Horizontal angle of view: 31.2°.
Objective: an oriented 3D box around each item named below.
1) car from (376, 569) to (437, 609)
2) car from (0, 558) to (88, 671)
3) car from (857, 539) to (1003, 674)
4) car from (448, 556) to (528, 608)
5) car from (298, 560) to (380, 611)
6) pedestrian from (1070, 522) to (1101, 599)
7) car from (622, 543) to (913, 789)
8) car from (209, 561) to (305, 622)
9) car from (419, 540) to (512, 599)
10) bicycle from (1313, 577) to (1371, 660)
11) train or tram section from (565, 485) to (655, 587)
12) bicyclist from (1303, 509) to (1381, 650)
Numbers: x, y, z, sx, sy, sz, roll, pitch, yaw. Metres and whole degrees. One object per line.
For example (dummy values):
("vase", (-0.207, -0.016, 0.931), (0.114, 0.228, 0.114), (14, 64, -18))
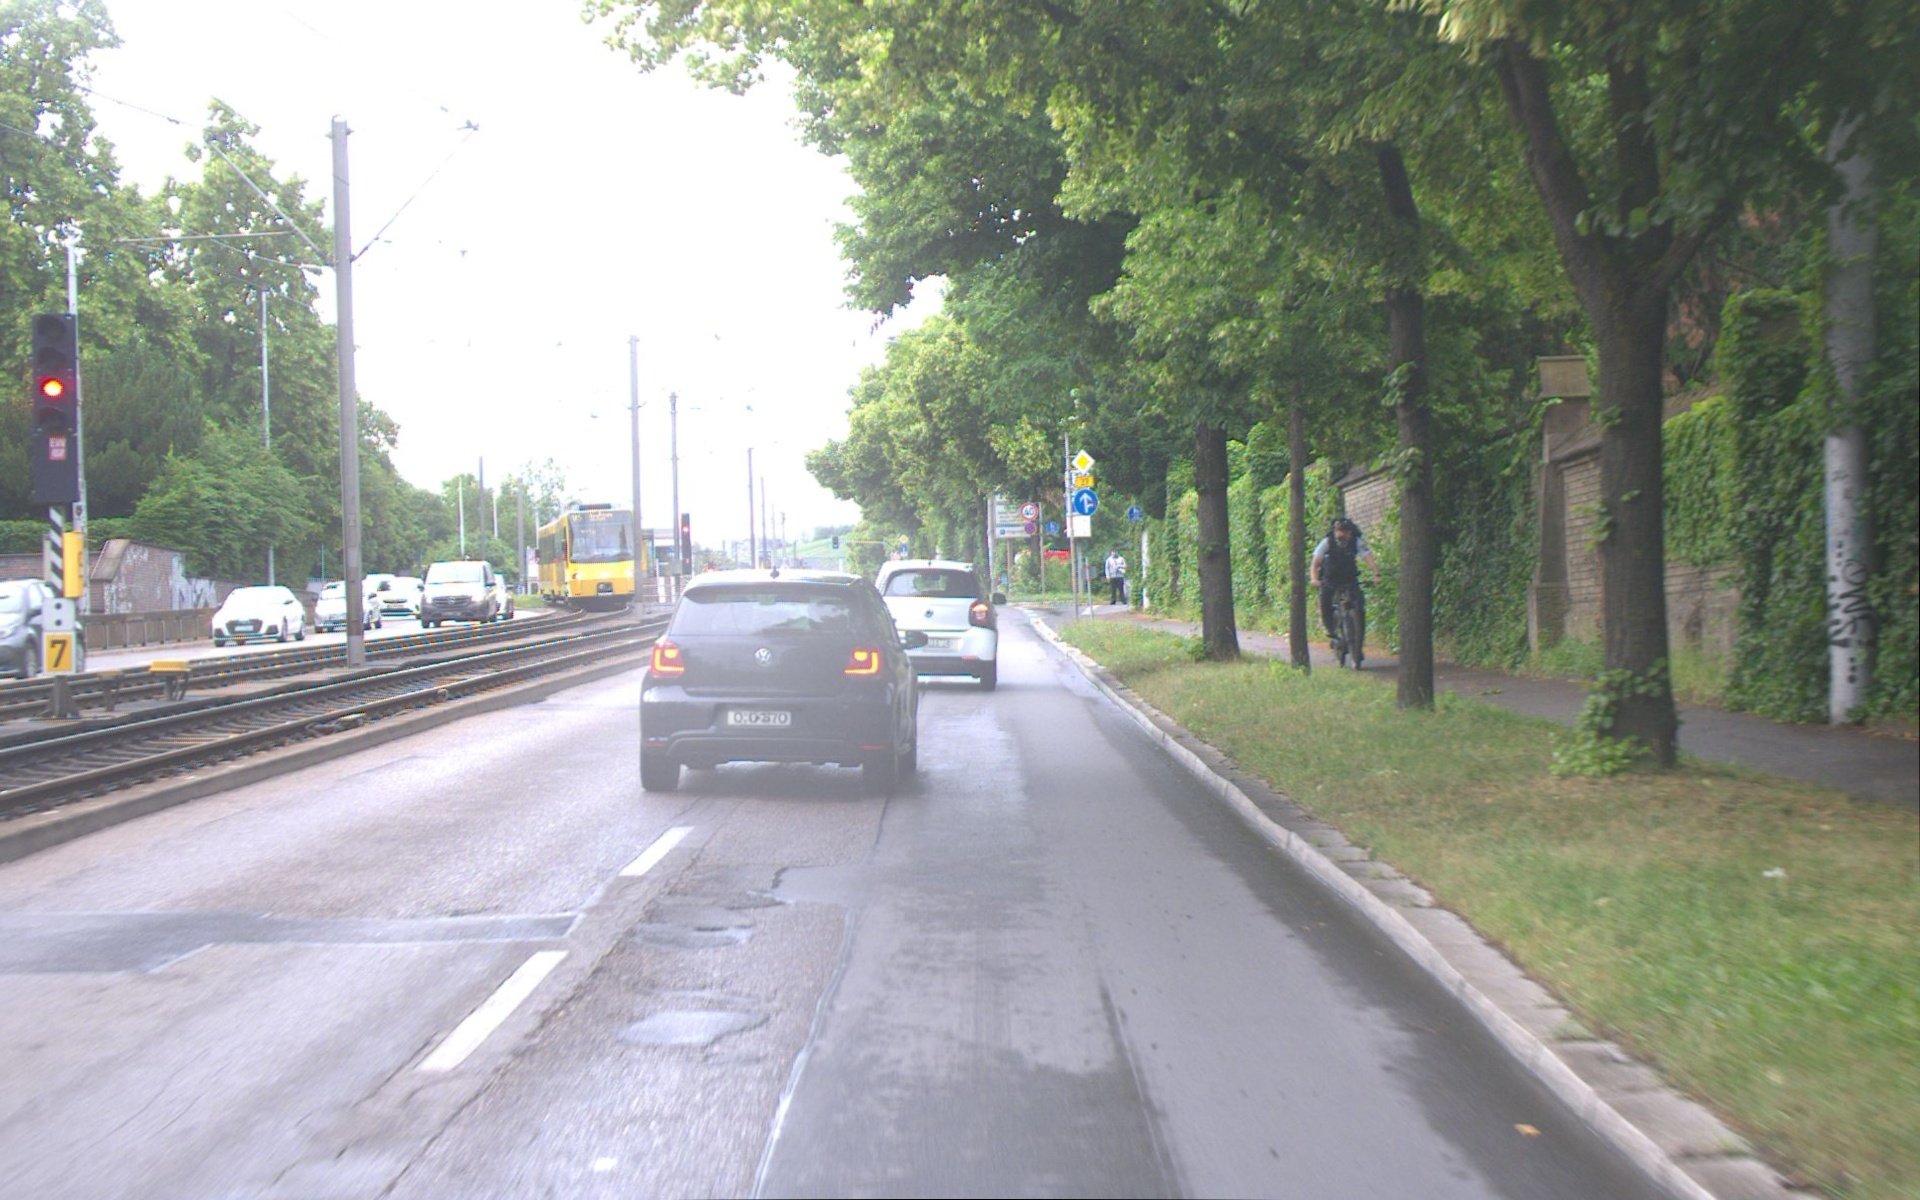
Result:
("car", (-18.835, -0.387, 117.088), (1.558, 1.334, 3.649), (0, 0, -1))
("car", (-13.250, 0.183, 47.033), (1.681, 1.456, 3.608), (-1, 1, 0))
("car", (-0.340, 0.043, 41.940), (1.676, 1.525, 3.722), (-1, 1, 0))
("car", (-14.999, -0.589, 109.427), (1.993, 1.571, 4.535), (0, 1, -1))
("car", (-18.189, -0.433, 100.870), (1.728, 1.438, 4.000), (0, 1, -1))
("pedestrian", (4.879, -1.536, 133.758), (1.164, 2.967, 0.948), (0, 1, -1))
("car", (-1.242, 0.379, 23.274), (1.794, 1.480, 3.965), (0, 1, -1))
("car", (-17.441, -0.225, 85.426), (1.616, 1.429, 4.000), (0, 1, -1))
("car", (-14.230, -0.900, 99.171), (1.993, 1.656, 5.127), (0, 1, -1))
("bicycle", (4.455, 0.205, 40.164), (0.407, 0.899, 2.099), (-1, 1, -1))
("train or tram section", (-12.683, -2.327, 125.106), (2.832, 3.593, 9.272), (0, 1, -3))
("bicyclist", (4.455, -0.248, 40.160), (0.763, 1.610, 0.999), (-1, 1, -1))
